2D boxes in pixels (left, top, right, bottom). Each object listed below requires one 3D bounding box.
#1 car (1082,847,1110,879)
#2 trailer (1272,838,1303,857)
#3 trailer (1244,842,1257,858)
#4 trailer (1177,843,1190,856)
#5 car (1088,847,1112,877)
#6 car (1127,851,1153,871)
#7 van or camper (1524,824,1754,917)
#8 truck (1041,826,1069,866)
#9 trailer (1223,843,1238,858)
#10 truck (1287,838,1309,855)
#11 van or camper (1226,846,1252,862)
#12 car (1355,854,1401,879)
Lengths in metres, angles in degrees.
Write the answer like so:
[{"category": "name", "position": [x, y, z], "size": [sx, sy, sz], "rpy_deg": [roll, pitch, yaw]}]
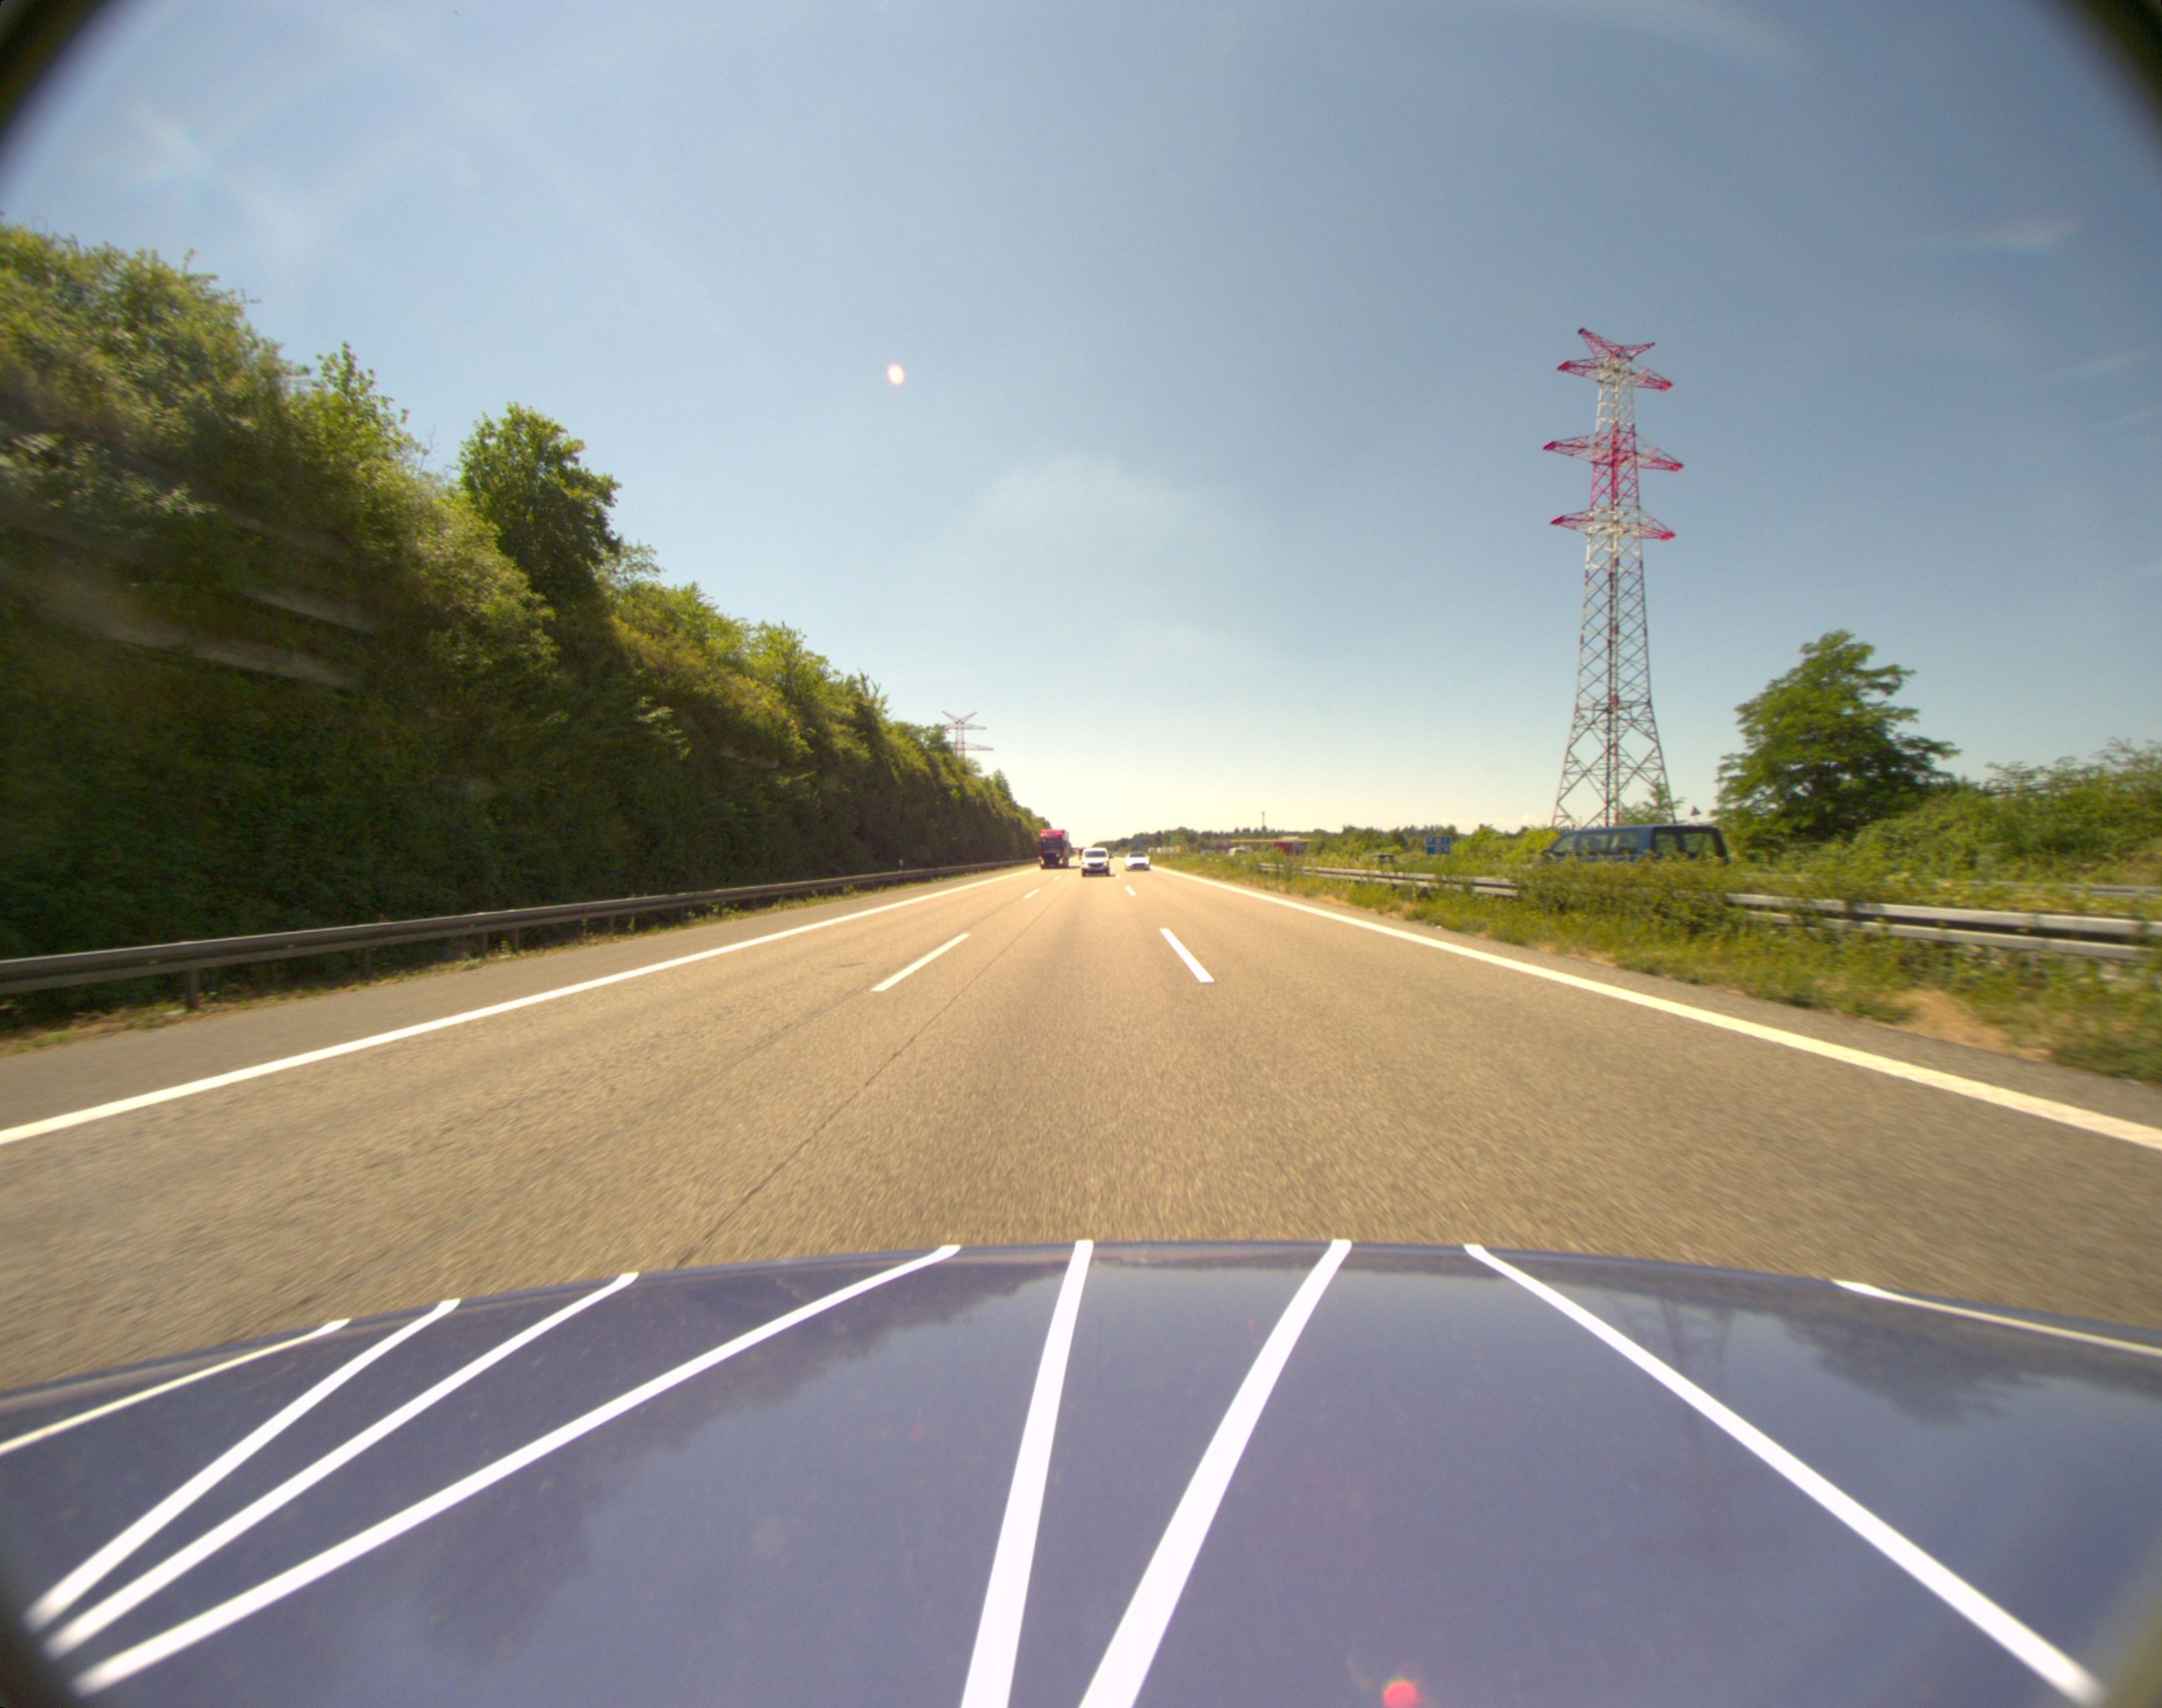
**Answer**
[{"category": "car", "position": [0.864, 0.519, 45.381], "size": [1.501, 1.799, 3.394], "rpy_deg": [-3, 0, 0]}, {"category": "trailer", "position": [48.581, -1.638, 178.494], "size": [3.123, 4.032, 11.334], "rpy_deg": [-2, 0, 35]}, {"category": "trailer", "position": [53.888, -1.330, 241.569], "size": [3.306, 4.846, 9.693], "rpy_deg": [-2, 0, 16]}, {"category": "trailer", "position": [36.022, -1.662, 267.197], "size": [2.840, 4.195, 11.082], "rpy_deg": [-3, 0, 0]}, {"category": "car", "position": [1.175, 0.477, 48.825], "size": [1.413, 1.795, 3.200], "rpy_deg": [-3, 0, 0]}, {"category": "car", "position": [4.641, 0.529, 59.907], "size": [1.775, 1.410, 3.401], "rpy_deg": [-3, 0, 1]}, {"category": "van or camper", "position": [12.777, 0.324, 17.905], "size": [1.849, 1.802, 4.874], "rpy_deg": [-3, 0, 1]}, {"category": "truck", "position": [-2.605, -0.815, 78.137], "size": [2.505, 3.897, 7.096], "rpy_deg": [-2, 0, 1]}, {"category": "trailer", "position": [49.122, -1.133, 249.875], "size": [3.040, 4.822, 9.135], "rpy_deg": [-3, 0, 3]}, {"category": "truck", "position": [52.674, -1.875, 184.303], "size": [3.119, 4.026, 6.658], "rpy_deg": [-2, 1, 35]}, {"category": "van or camper", "position": [19.288, 0.035, 92.799], "size": [2.131, 1.845, 5.311], "rpy_deg": [1, 0, 1]}, {"category": "car", "position": [18.163, 0.734, 46.642], "size": [1.554, 1.421, 3.326], "rpy_deg": [0, 0, 1]}]
